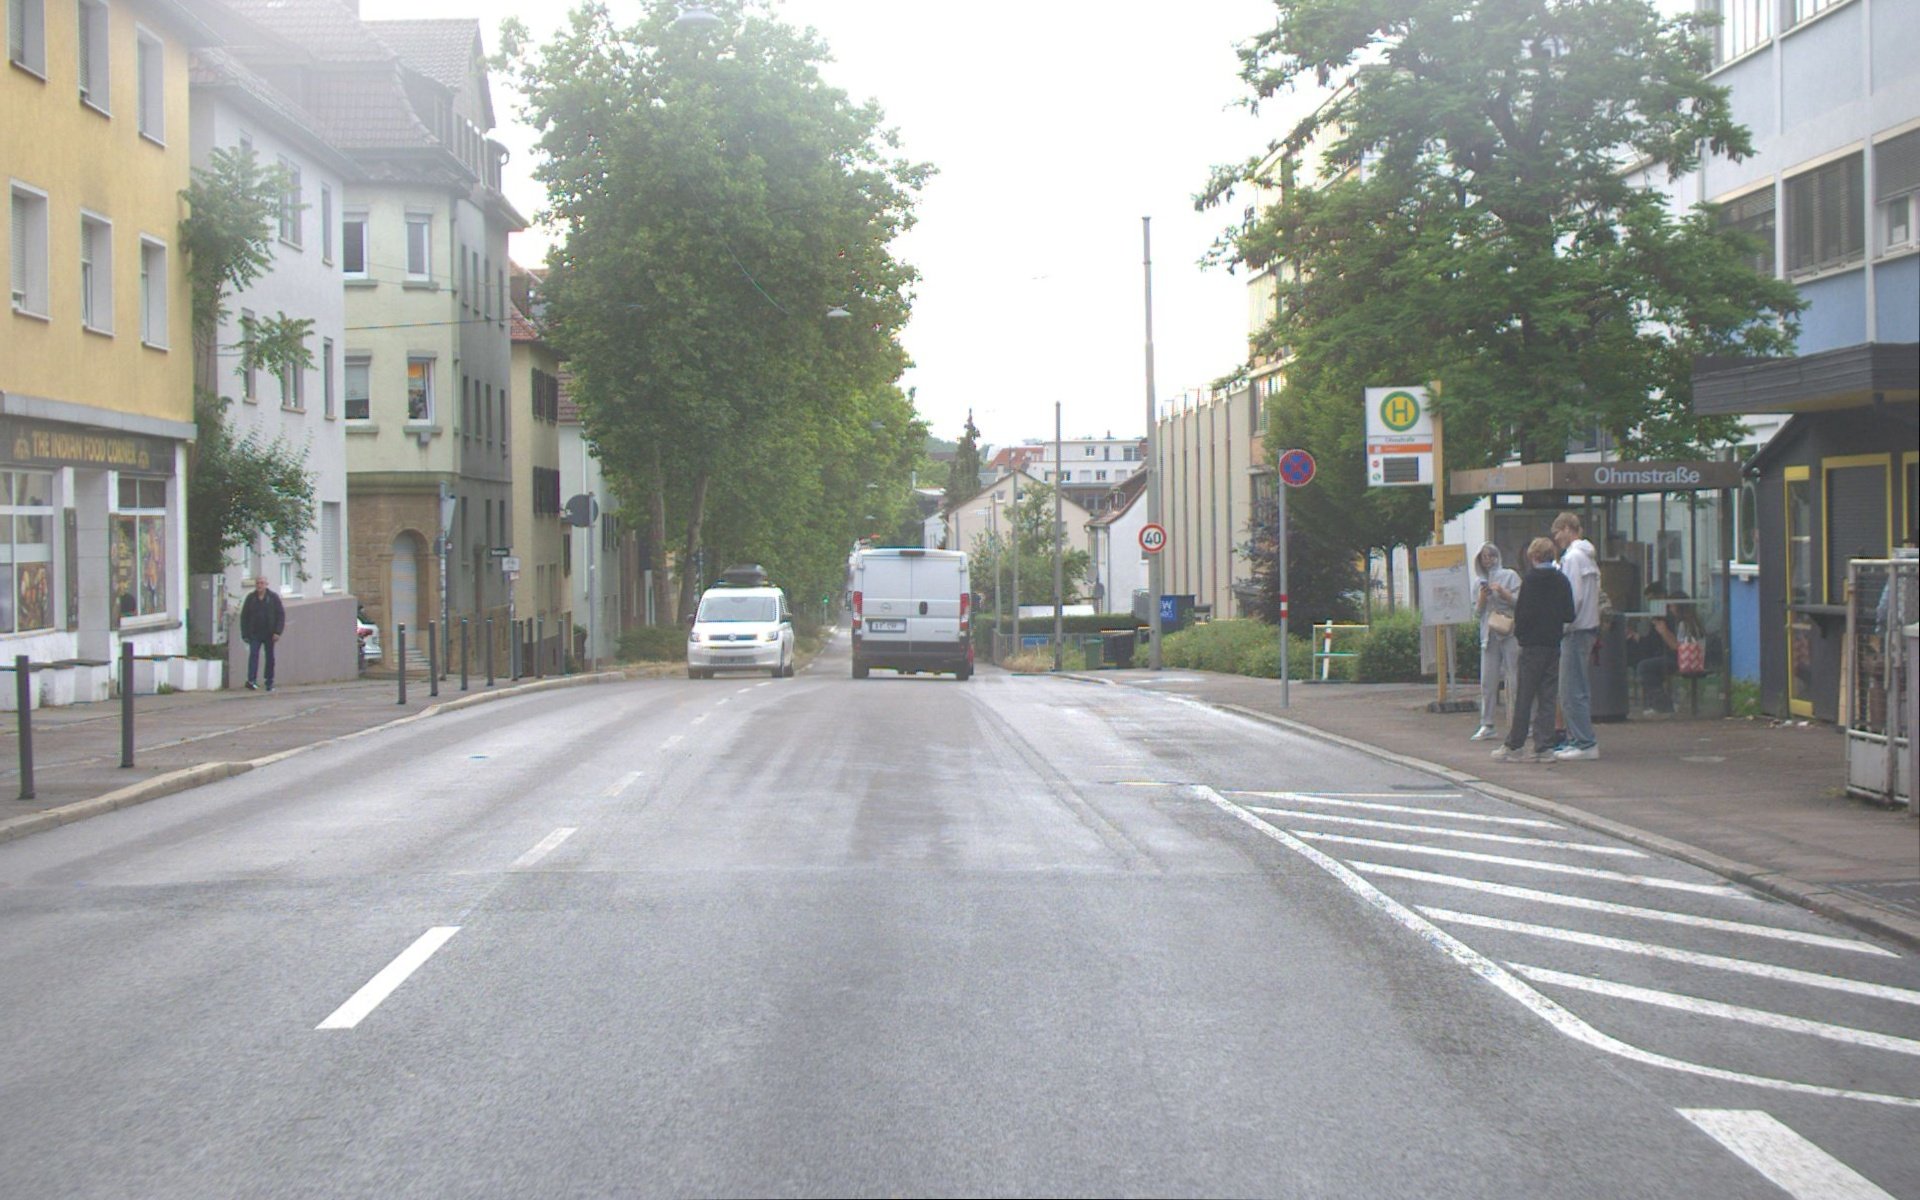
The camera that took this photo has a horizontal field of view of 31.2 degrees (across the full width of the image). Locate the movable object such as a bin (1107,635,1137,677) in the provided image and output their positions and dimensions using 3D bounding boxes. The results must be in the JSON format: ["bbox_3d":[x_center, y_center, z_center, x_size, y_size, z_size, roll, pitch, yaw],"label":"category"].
[{"bbox_3d":[4.284,1.483,91.012,0.695,1.078,0.778,-3,-1,0],"label":"movable object such as a bin"}]

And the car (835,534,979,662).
[{"bbox_3d":[-0.985,-0.063,60.433,2.346,2.153,4.778,0,1,-3],"label":"car"}]

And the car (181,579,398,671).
[{"bbox_3d":[-14.296,0.529,73.501,4.182,1.698,2.000,3,0,-1],"label":"car"}]

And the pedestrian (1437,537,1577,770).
[{"bbox_3d":[4.120,0.400,25.911,0.634,1.704,0.749,-3,0,-35],"label":"pedestrian"}]

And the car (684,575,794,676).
[{"bbox_3d":[-4.220,0.501,66.216,1.882,1.863,4.453,-1,-1,-1],"label":"car"}]

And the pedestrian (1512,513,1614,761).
[{"bbox_3d":[4.631,0.279,26.401,0.487,1.869,0.631,-2,0,32],"label":"pedestrian"}]

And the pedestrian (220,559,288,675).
[{"bbox_3d":[-10.370,0.258,50.511,0.815,1.674,0.993,1,-1,-3],"label":"pedestrian"}]

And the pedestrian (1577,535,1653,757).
[{"bbox_3d":[5.129,0.356,26.905,0.446,1.702,0.557,-2,0,17],"label":"pedestrian"}]

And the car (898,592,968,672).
[{"bbox_3d":[-0.723,0.823,91.016,1.796,2.007,4.000,0,1,-1],"label":"car"}]

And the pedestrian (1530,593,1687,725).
[{"bbox_3d":[6.476,0.582,34.366,1.355,1.269,0.742,-1,0,-6],"label":"pedestrian"}]

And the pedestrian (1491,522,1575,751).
[{"bbox_3d":[4.682,0.297,28.105,0.459,1.834,0.605,-3,0,-6],"label":"pedestrian"}]

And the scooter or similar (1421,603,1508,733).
[{"bbox_3d":[4.509,0.605,30.743,0.617,1.136,0.568,-1,0,-6],"label":"scooter or similar"}]

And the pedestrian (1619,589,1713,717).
[{"bbox_3d":[6.736,0.501,32.834,0.660,1.195,0.742,-1,0,-6],"label":"pedestrian"}]

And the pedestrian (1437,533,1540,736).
[{"bbox_3d":[4.612,0.296,30.033,0.660,1.735,0.829,-1,0,-6],"label":"pedestrian"}]

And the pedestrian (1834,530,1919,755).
[{"bbox_3d":[6.919,0.303,25.227,0.673,1.620,0.624,-3,0,-29],"label":"pedestrian"}]

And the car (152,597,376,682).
[{"bbox_3d":[-13.731,0.775,68.002,3.987,1.448,2.000,3,0,-1],"label":"car"}]

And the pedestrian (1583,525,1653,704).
[{"bbox_3d":[6.830,0.147,35.679,0.647,1.825,0.741,-1,0,13],"label":"pedestrian"}]

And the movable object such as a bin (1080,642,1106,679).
[{"bbox_3d":[3.504,1.598,90.844,0.619,0.933,0.686,-3,-1,0],"label":"movable object such as a bin"}]
